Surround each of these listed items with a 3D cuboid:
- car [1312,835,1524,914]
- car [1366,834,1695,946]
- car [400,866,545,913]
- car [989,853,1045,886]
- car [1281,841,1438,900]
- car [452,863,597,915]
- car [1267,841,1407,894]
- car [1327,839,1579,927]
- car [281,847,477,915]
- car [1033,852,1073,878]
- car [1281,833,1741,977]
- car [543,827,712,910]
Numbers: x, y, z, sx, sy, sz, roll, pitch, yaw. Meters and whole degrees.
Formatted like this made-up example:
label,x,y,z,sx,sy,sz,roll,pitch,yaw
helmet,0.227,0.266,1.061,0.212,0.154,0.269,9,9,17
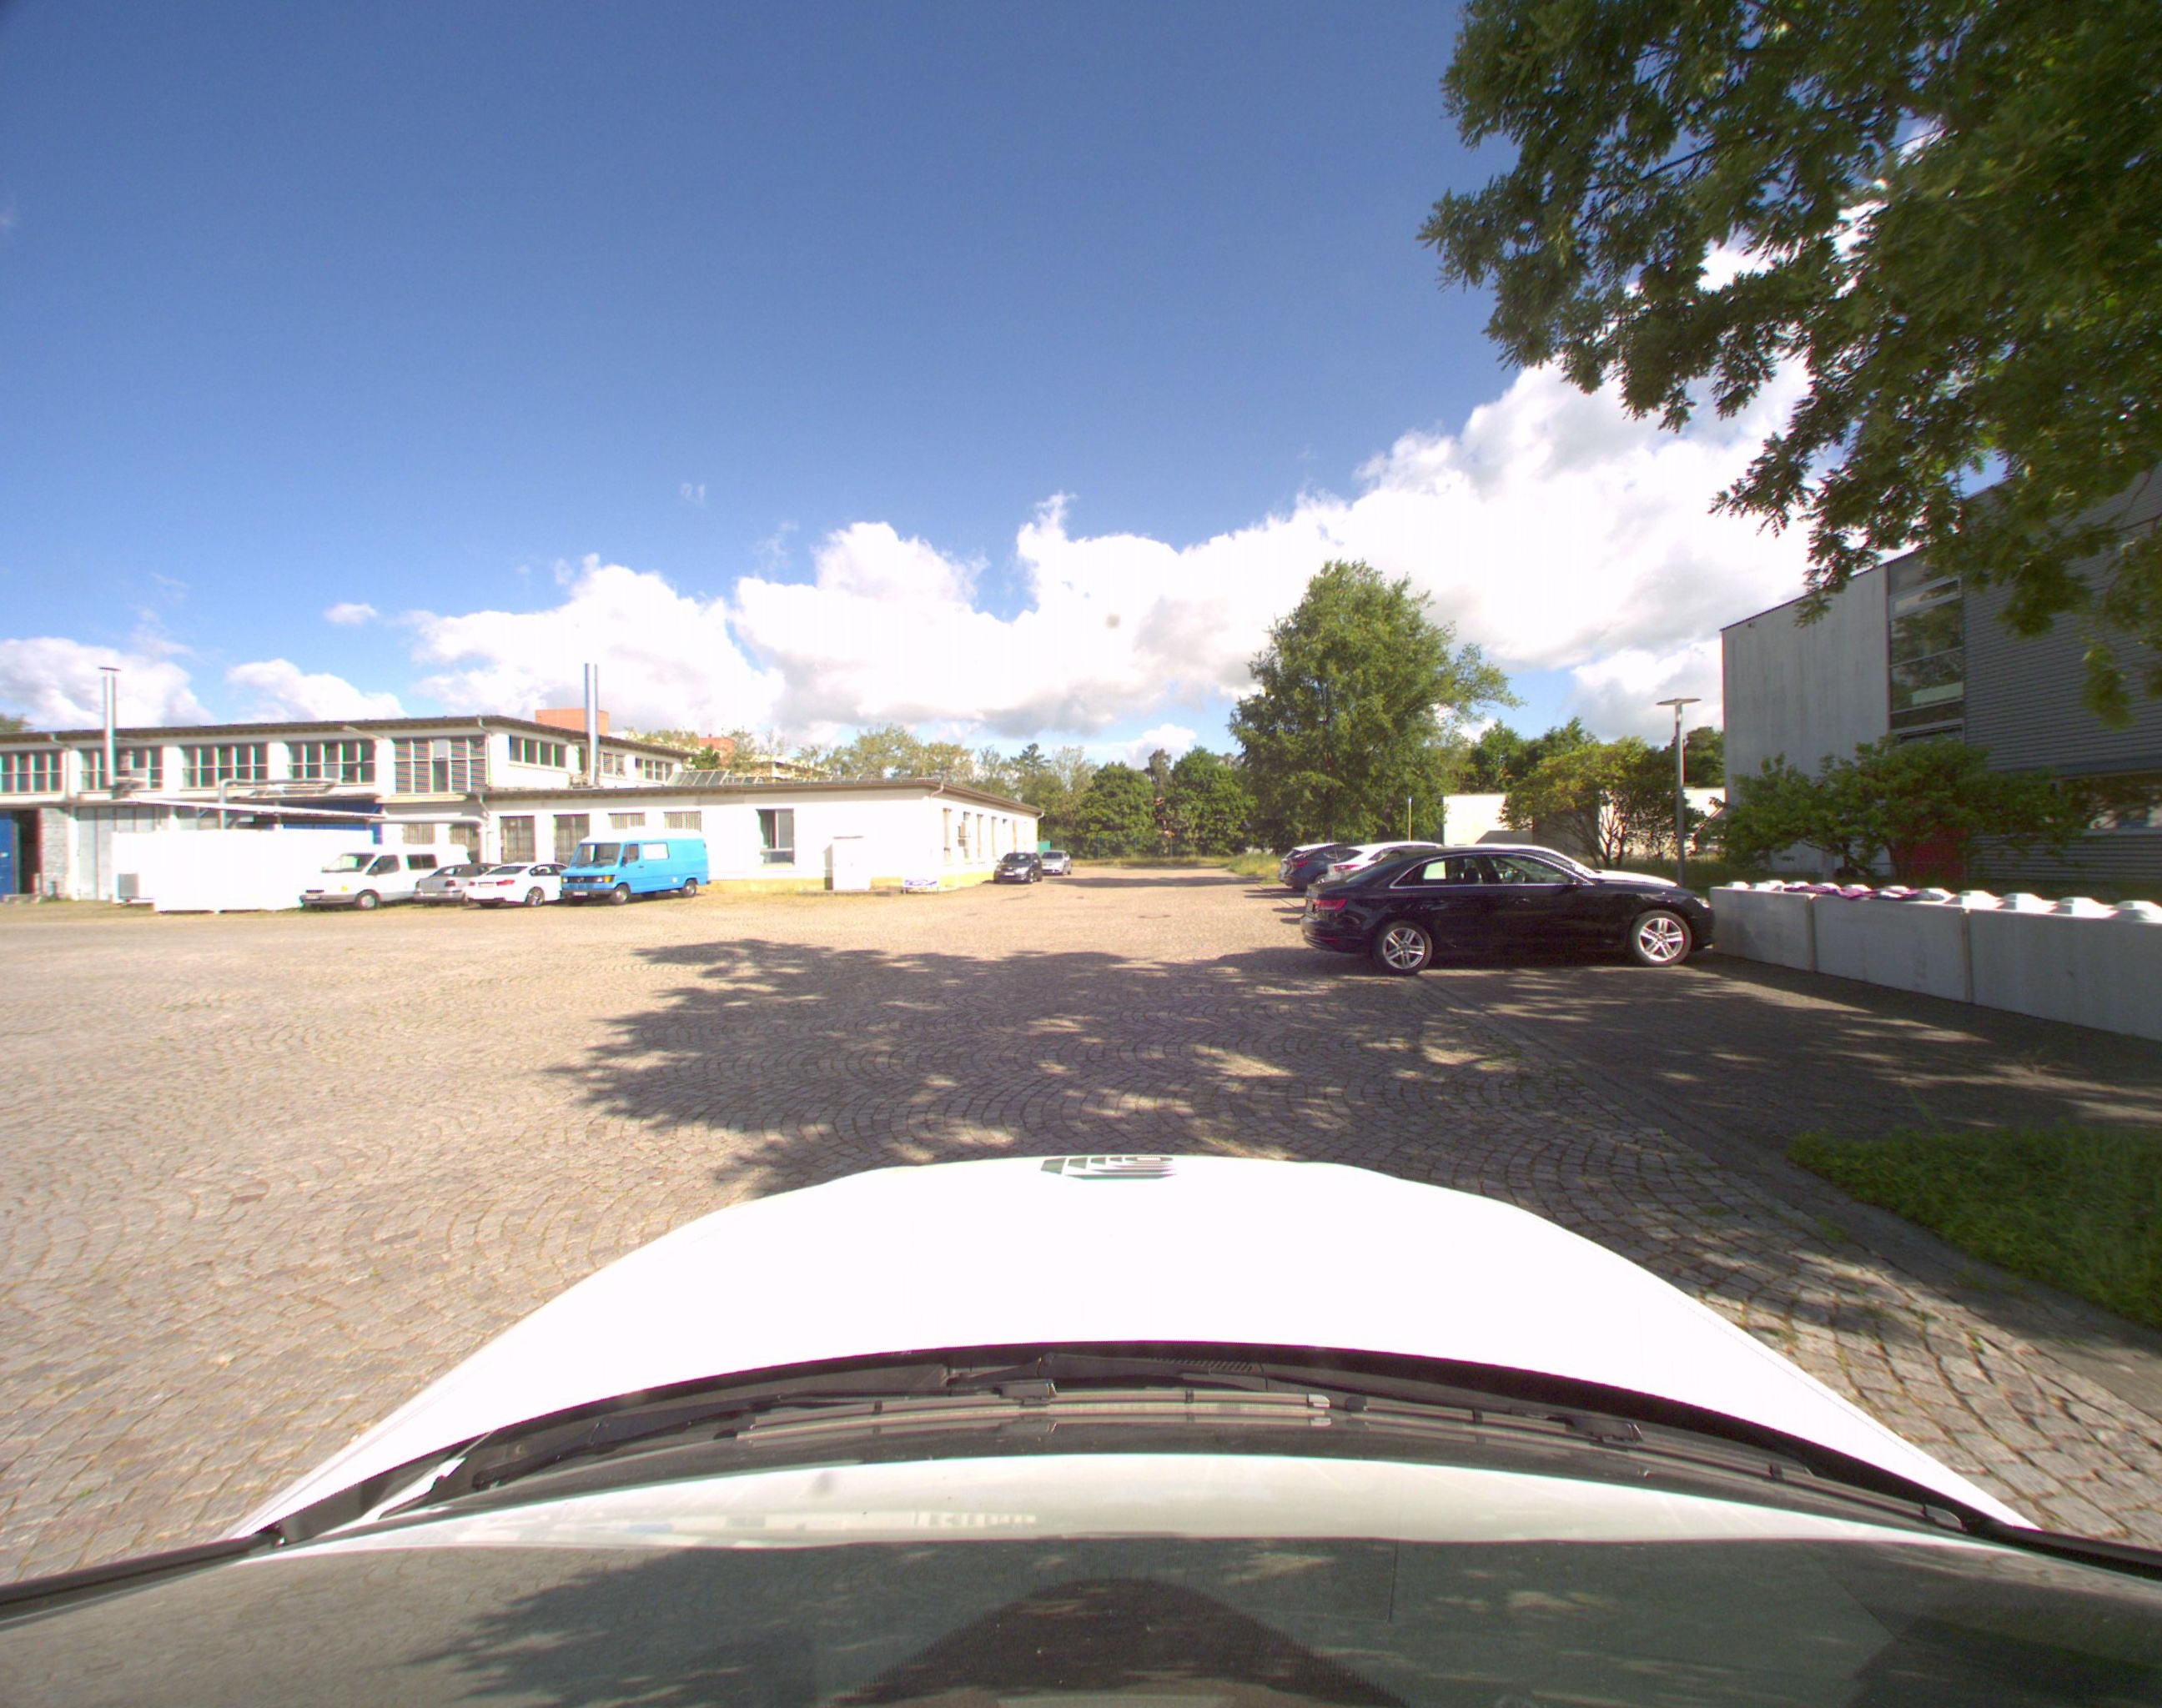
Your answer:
label,x,y,z,sx,sy,sz,roll,pitch,yaw
car,7.172,0.431,17.670,3.890,1.446,1.759,-3,0,7
car,6.729,0.548,12.643,4.110,1.460,1.697,-3,0,12
car,-20.728,1.166,27.947,1.676,1.398,3.842,-1,0,10
car,-2.916,0.703,38.058,1.754,1.435,4.001,-1,0,8
car,7.704,0.443,22.831,3.890,1.417,1.696,-3,0,7
car,-18.087,1.090,26.676,1.721,1.405,3.749,-2,1,10
car,7.914,0.418,25.485,3.890,1.435,1.800,-3,0,7
car,6.742,0.516,15.124,3.890,1.372,1.732,-3,0,7
car,-23.688,0.846,27.782,1.991,2.081,4.819,-1,0,10
car,-1.602,0.634,47.753,1.677,1.435,3.996,-1,0,8
car,5.012,0.593,10.088,4.695,1.423,1.760,-3,0,6
car,-15.125,0.437,27.590,2.070,2.483,5.254,-1,0,10
